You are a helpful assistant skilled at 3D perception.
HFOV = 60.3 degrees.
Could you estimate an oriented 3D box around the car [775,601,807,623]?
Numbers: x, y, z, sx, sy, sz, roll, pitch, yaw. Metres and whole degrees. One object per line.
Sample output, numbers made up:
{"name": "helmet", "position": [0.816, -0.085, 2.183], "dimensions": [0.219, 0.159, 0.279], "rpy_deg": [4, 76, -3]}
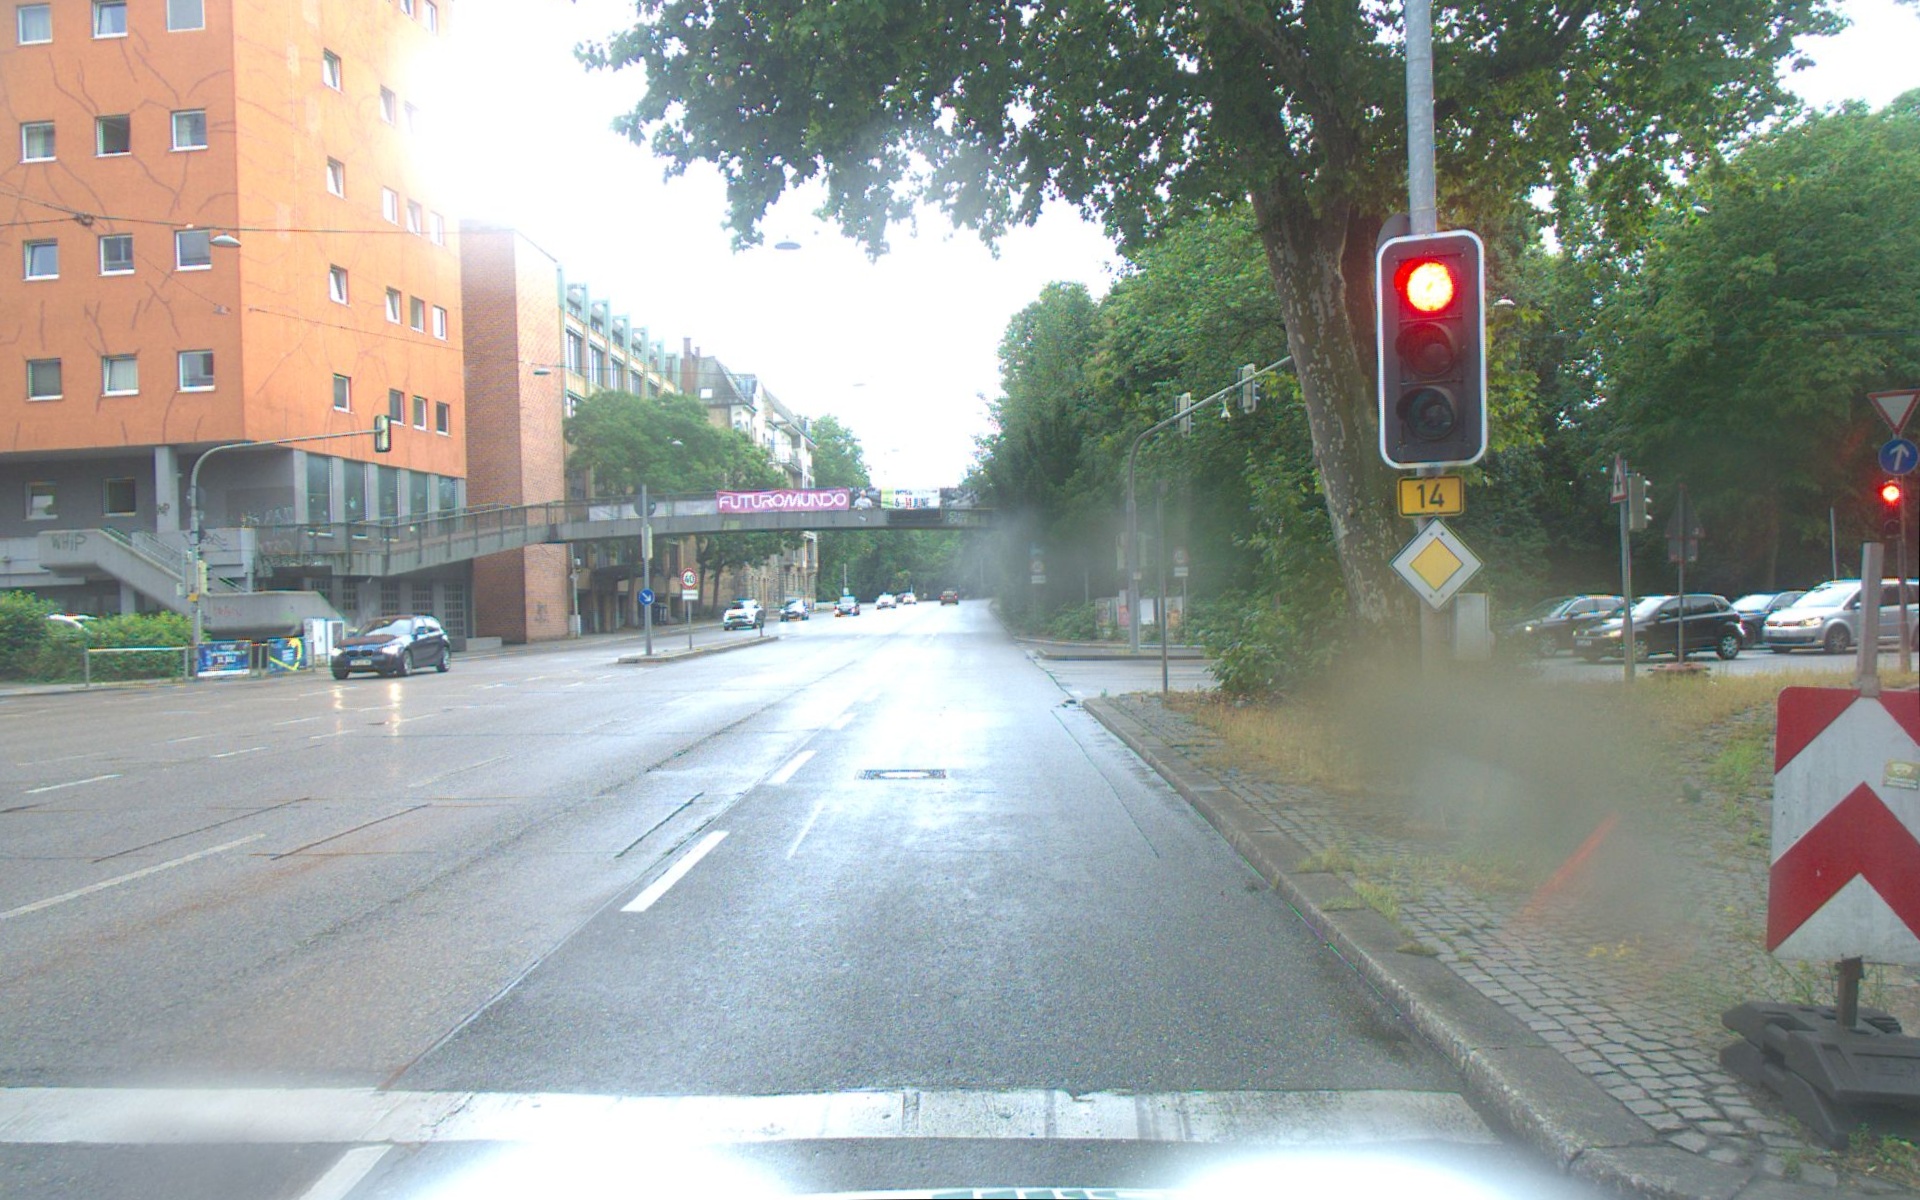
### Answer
{"name": "car", "position": [-12.052, 0.830, 118.044], "dimensions": [1.673, 1.490, 4.042], "rpy_deg": [-2, 0, 2]}

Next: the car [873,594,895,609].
{"name": "car", "position": [-7.431, 0.162, 162.472], "dimensions": [1.793, 1.418, 4.405], "rpy_deg": [-3, 0, 1]}

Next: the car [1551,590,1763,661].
{"name": "car", "position": [15.373, 0.563, 36.519], "dimensions": [4.119, 1.486, 1.785], "rpy_deg": [1, 0, -17]}

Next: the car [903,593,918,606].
{"name": "car", "position": [-6.252, -0.050, 209.253], "dimensions": [1.568, 1.525, 3.712], "rpy_deg": [-3, 0, 1]}

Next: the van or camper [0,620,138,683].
{"name": "van or camper", "position": [-25.914, 1.462, 47.228], "dimensions": [3.902, 1.656, 1.915], "rpy_deg": [-1, 0, 5]}

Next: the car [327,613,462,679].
{"name": "car", "position": [-13.561, 1.069, 39.937], "dimensions": [1.651, 1.444, 4.215], "rpy_deg": [-2, -1, 2]}

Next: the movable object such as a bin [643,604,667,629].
{"name": "movable object such as a bin", "position": [-19.686, 1.058, 106.809], "dimensions": [1.256, 1.545, 1.273], "rpy_deg": [-1, 0, 1]}

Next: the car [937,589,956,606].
{"name": "car", "position": [-1.421, -0.237, 174.864], "dimensions": [1.963, 1.672, 4.375], "rpy_deg": [-1, 0, 0]}

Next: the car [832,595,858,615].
{"name": "car", "position": [-8.832, 0.392, 127.442], "dimensions": [1.648, 1.461, 3.862], "rpy_deg": [-2, 0, 0]}

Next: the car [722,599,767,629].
{"name": "car", "position": [-12.299, 0.772, 94.698], "dimensions": [1.850, 1.638, 4.457], "rpy_deg": [-1, 0, 2]}

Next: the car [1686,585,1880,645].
{"name": "car", "position": [20.847, 0.384, 41.935], "dimensions": [4.361, 1.427, 1.821], "rpy_deg": [1, 0, -17]}

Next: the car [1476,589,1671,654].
{"name": "car", "position": [14.925, 0.523, 40.288], "dimensions": [4.131, 1.466, 1.941], "rpy_deg": [1, 0, -17]}

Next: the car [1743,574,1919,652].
{"name": "car", "position": [20.615, 0.308, 38.513], "dimensions": [4.129, 1.709, 1.898], "rpy_deg": [1, 0, -17]}
